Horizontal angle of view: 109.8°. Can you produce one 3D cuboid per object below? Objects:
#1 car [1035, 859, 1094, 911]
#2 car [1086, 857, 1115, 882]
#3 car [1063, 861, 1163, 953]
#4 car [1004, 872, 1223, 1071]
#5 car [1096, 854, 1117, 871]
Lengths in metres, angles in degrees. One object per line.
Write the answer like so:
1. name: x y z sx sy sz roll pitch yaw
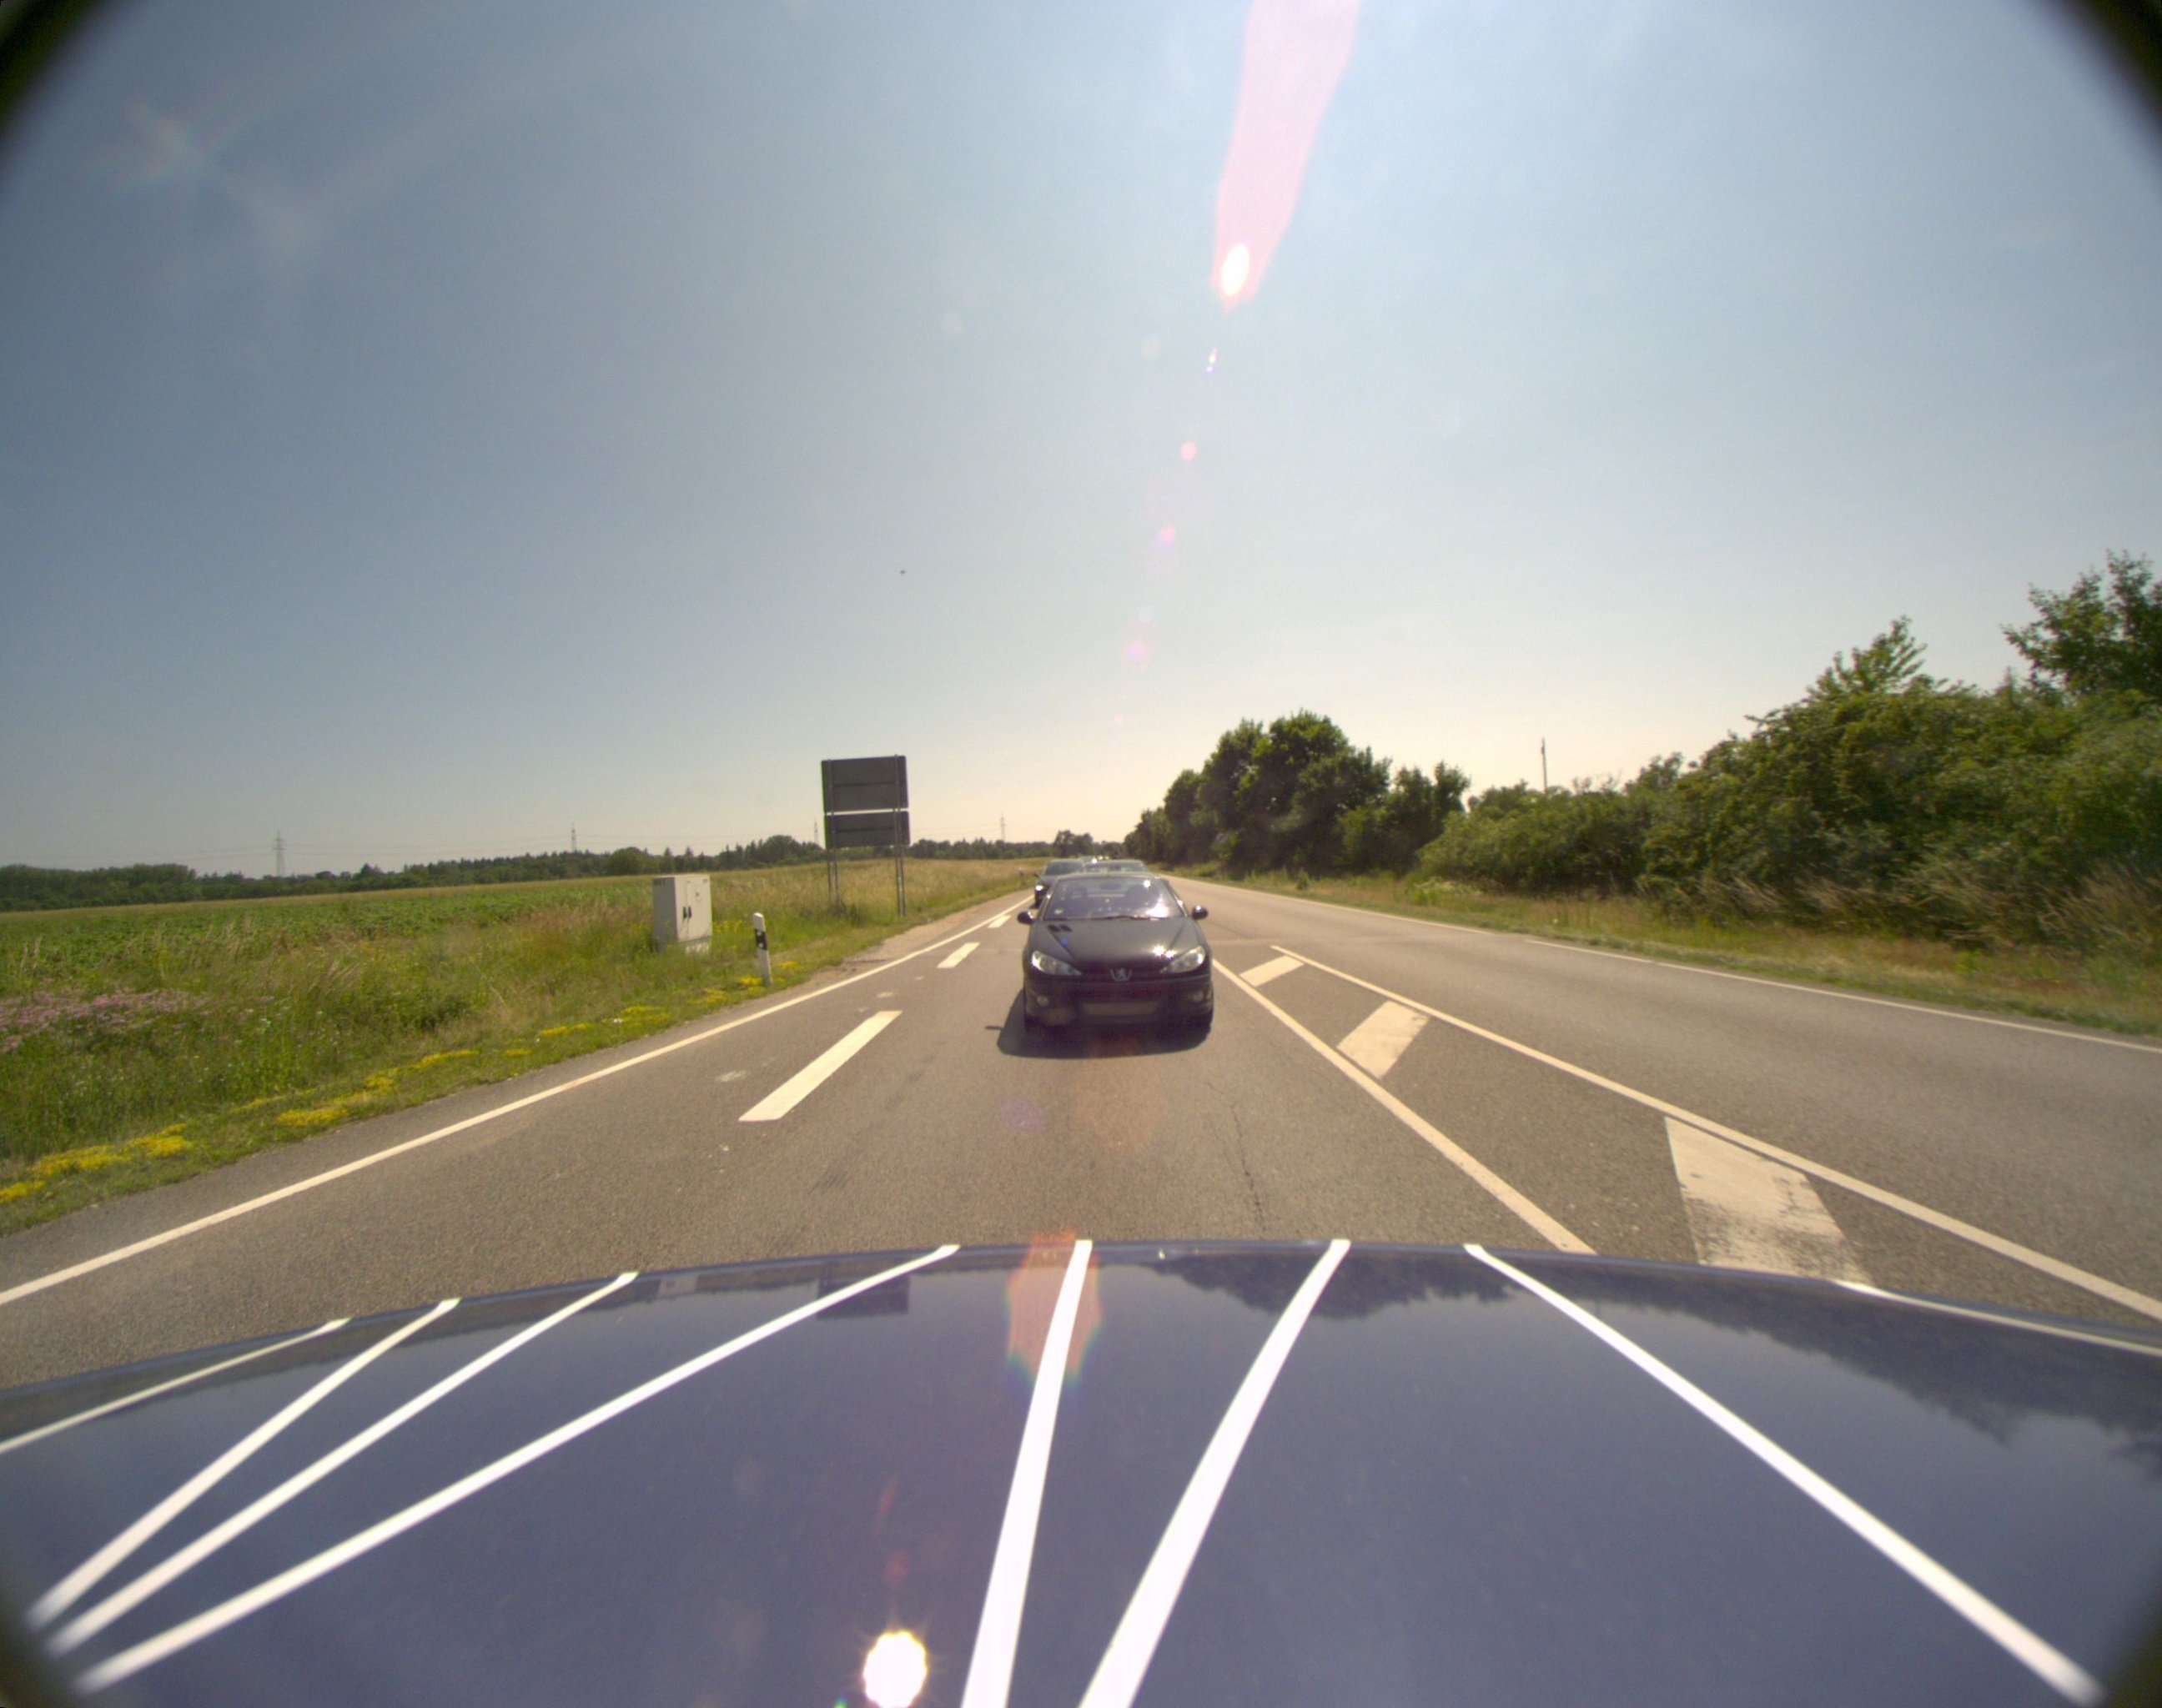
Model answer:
1. car: -0.465 0.940 24.921 1.665 1.449 4.173 -2 0 2
2. car: 1.135 0.883 44.881 1.588 1.294 3.631 -2 0 1
3. car: 0.612 0.926 14.965 1.665 1.477 3.732 -2 0 2
4. car: 0.277 0.964 7.788 1.665 1.389 3.731 -2 0 1
5. car: 2.061 0.682 62.802 1.588 1.294 3.631 -2 0 1
